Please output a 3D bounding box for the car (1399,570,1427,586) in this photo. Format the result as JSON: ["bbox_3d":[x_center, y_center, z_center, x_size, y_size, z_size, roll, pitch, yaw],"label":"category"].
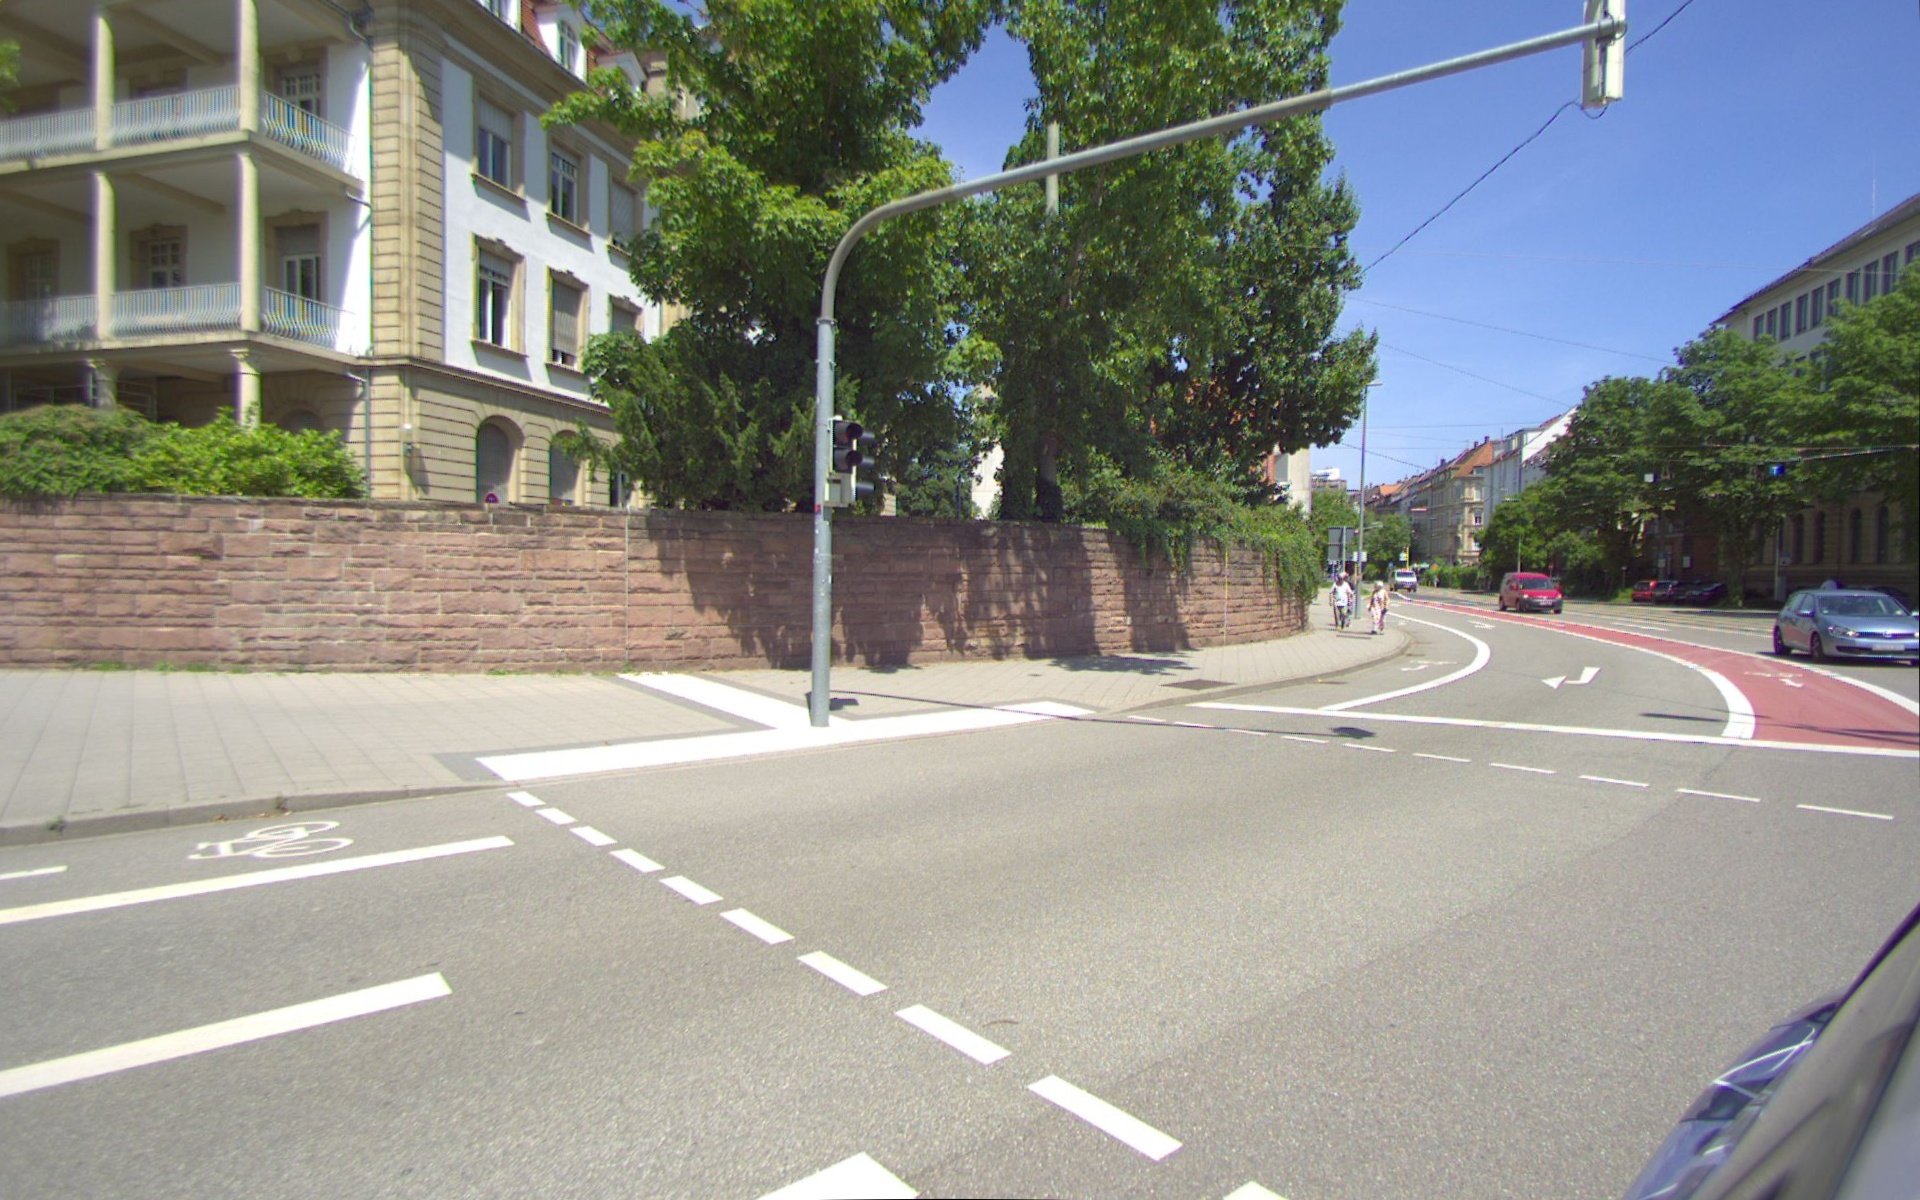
[{"bbox_3d":[40.032,-1.966,89.499,1.809,1.409,4.256,2,2,18],"label":"car"}]

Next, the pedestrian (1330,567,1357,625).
[{"bbox_3d":[11.062,-0.115,29.202,0.597,1.631,0.555,4,1,18],"label":"pedestrian"}]

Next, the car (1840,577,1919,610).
[{"bbox_3d":[41.899,-0.311,45.384,3.484,1.438,1.572,-1,0,-1],"label":"car"}]

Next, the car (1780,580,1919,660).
[{"bbox_3d":[18.382,0.342,20.590,1.816,1.432,3.957,1,2,27],"label":"car"}]

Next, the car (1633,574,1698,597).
[{"bbox_3d":[47.089,-0.983,67.598,3.504,1.471,1.619,-1,0,-13],"label":"car"}]

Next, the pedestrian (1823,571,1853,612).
[{"bbox_3d":[36.848,-0.382,42.482,0.715,1.691,0.640,2,1,20],"label":"pedestrian"}]

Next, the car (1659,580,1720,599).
[{"bbox_3d":[45.879,-0.670,63.705,2.931,1.113,1.282,-1,0,-2],"label":"car"}]

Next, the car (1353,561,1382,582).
[{"bbox_3d":[34.584,-2.402,85.979,1.792,1.729,3.982,1,2,15],"label":"car"}]

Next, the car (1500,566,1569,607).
[{"bbox_3d":[26.165,-0.612,46.206,1.809,1.788,4.256,-1,0,17],"label":"car"}]

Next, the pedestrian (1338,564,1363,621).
[{"bbox_3d":[12.217,-0.251,31.690,0.597,1.734,0.555,4,1,17],"label":"pedestrian"}]

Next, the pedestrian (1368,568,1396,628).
[{"bbox_3d":[11.824,-0.049,28.378,0.597,1.631,0.555,4,1,18],"label":"pedestrian"}]

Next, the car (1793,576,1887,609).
[{"bbox_3d":[41.896,-0.358,48.223,3.089,1.481,1.572,-1,0,-2],"label":"car"}]
